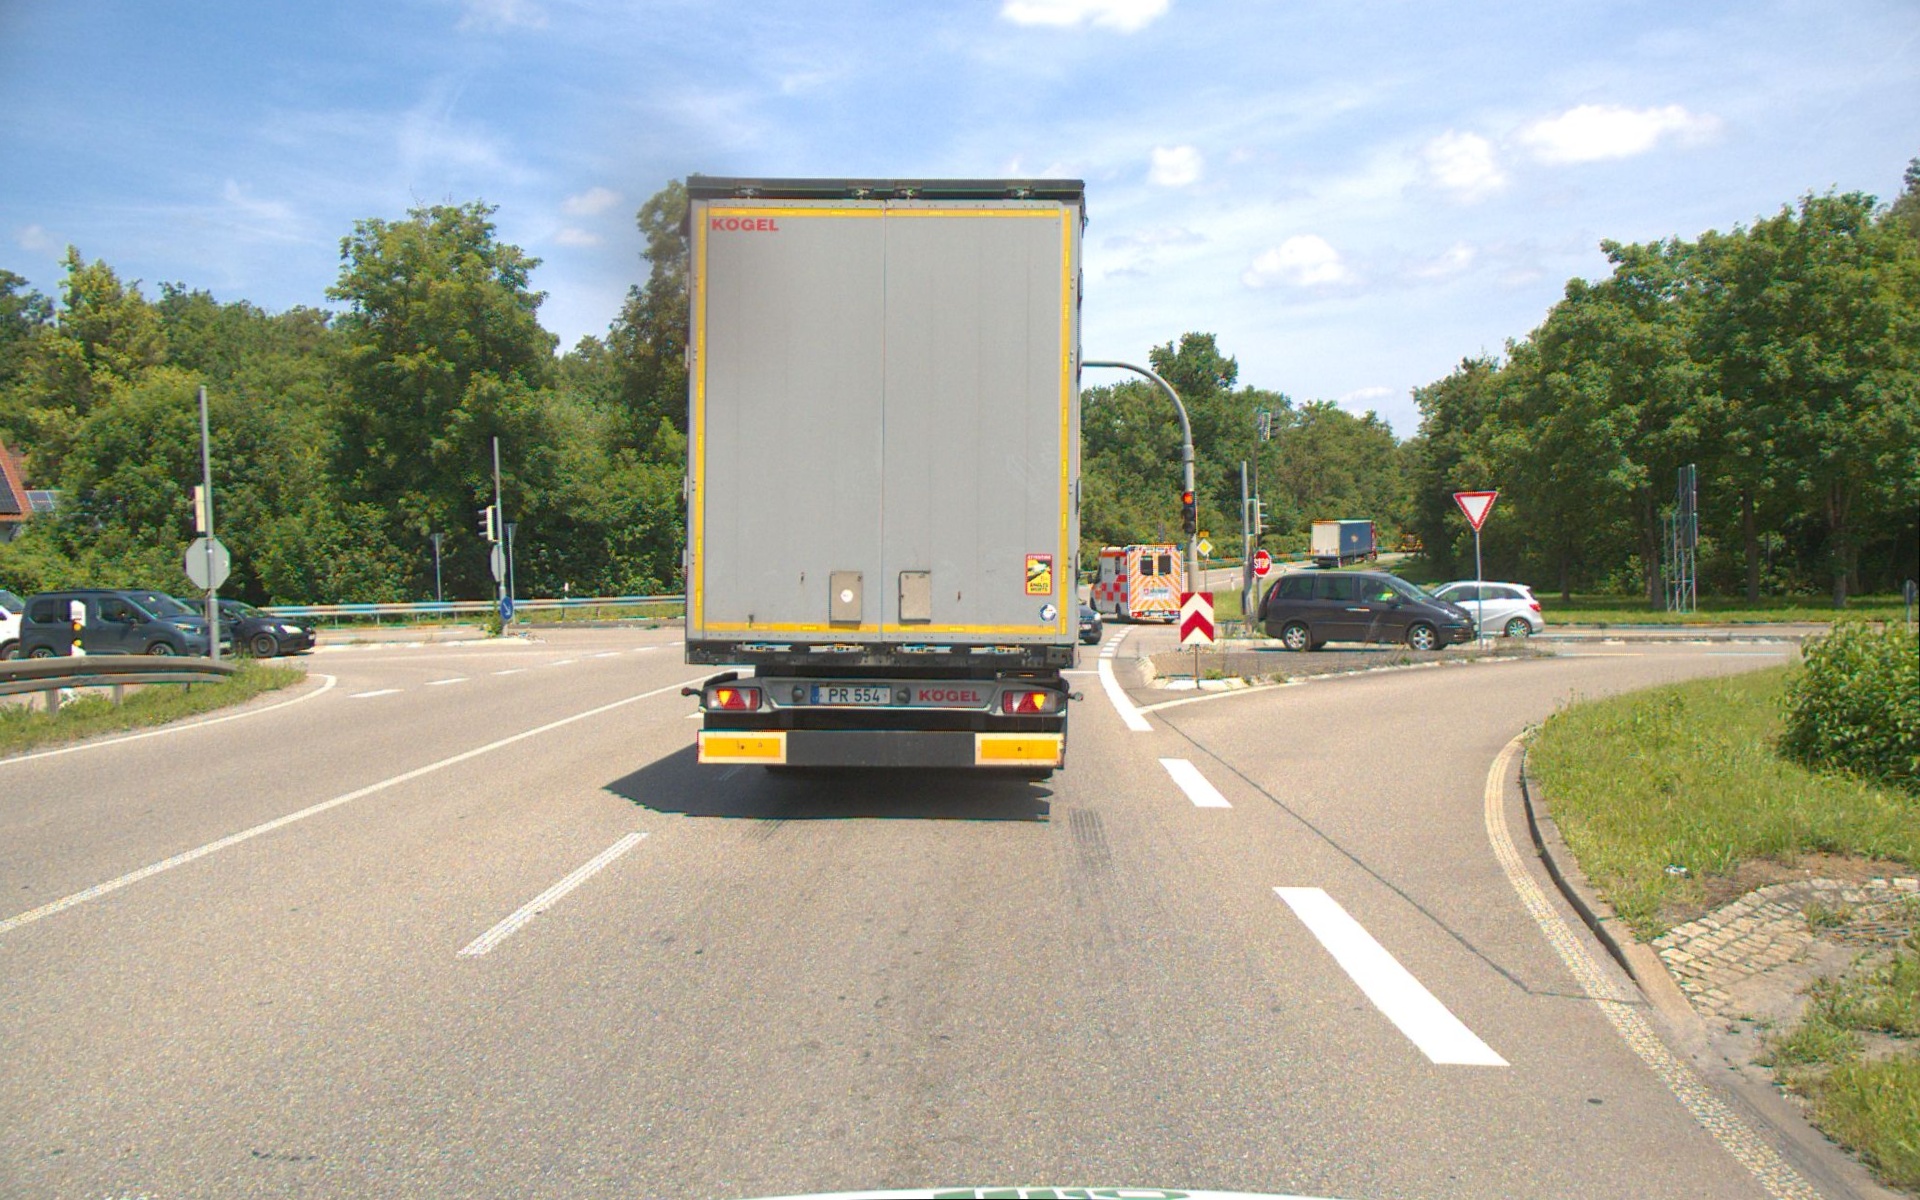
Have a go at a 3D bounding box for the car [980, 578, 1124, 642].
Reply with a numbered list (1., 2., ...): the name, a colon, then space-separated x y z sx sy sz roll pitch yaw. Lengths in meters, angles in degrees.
1. car: 2.308 0.288 42.674 1.968 1.517 4.224 2 -2 -25

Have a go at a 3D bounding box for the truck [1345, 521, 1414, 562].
1. truck: 47.220 -6.515 186.018 4.915 4.438 11.750 1 2 28

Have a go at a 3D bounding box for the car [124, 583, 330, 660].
1. car: -17.689 0.514 40.010 4.143 1.801 2.002 0 0 9

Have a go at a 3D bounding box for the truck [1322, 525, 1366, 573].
1. truck: 35.807 -4.746 154.120 3.104 4.075 5.813 1 -2 22

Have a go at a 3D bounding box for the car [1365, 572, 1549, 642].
1. car: 13.126 0.212 43.892 4.334 1.748 2.001 1 -2 4

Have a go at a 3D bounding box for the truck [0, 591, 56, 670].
1. truck: -24.256 0.694 38.926 4.791 1.823 2.037 1 -2 -13

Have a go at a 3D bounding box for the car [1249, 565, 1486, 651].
1. car: 9.116 0.199 37.030 4.831 1.816 1.997 0 -2 27

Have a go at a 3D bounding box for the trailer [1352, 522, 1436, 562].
1. trailer: 50.909 -6.685 193.063 4.915 4.438 20.811 1 2 28

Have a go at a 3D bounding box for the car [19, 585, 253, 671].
1. car: -17.828 0.595 35.876 4.143 1.801 2.002 0 0 9

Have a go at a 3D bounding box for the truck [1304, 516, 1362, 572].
1. truck: 33.700 -4.948 148.958 3.114 4.100 11.740 1 -2 22

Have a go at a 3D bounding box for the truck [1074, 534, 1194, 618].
1. truck: 6.214 -0.774 59.955 2.451 2.775 6.009 1 -2 -13

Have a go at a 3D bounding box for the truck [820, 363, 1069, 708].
1. truck: -0.091 -0.793 23.056 2.975 4.104 6.631 0 0 2

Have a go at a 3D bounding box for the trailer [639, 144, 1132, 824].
1. trailer: -0.279 -0.751 16.295 2.988 4.104 12.561 0 0 2
